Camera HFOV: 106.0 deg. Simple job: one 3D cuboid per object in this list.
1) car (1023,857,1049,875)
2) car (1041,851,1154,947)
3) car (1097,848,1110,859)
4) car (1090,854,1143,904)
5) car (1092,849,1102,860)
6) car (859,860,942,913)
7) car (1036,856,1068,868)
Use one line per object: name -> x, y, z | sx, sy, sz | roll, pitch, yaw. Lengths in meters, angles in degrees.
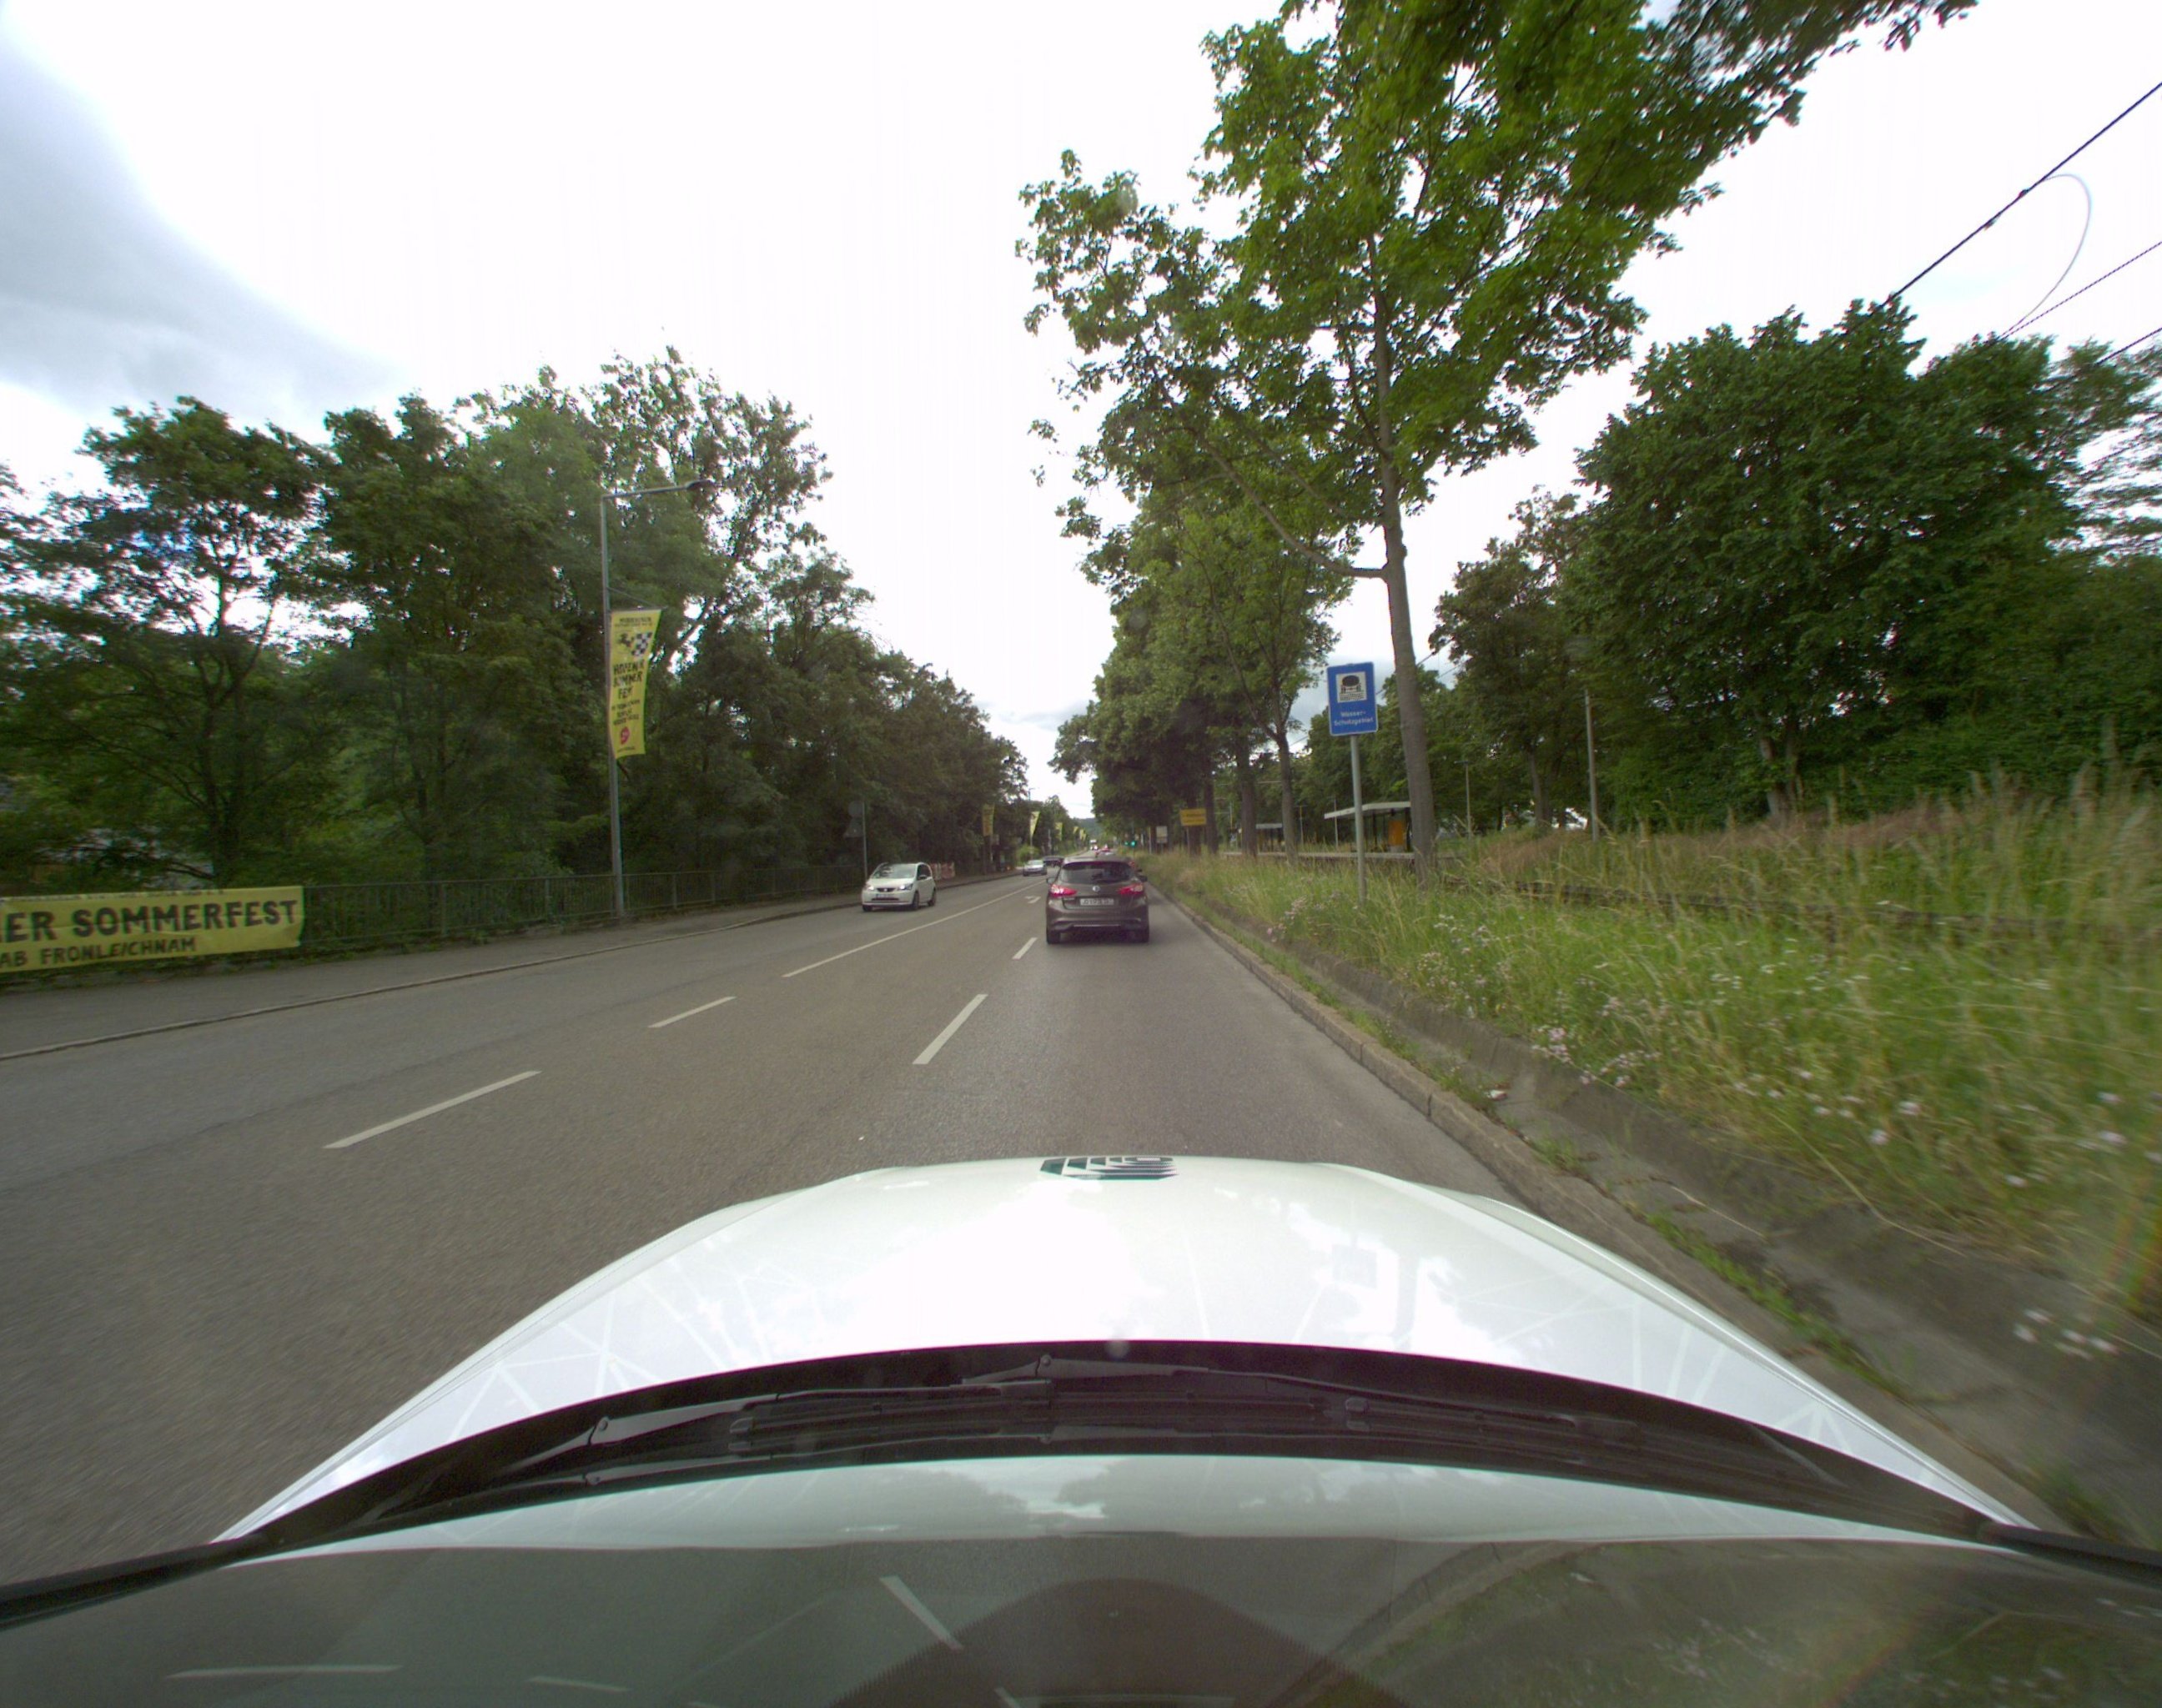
car -> -3.701, 0.960, 67.391 | 1.751, 1.337, 3.698 | -2, 0, 2
car -> 0.341, 0.733, 15.027 | 1.776, 1.507, 3.698 | -2, 0, 2
car -> 3.440, -0.047, 124.052 | 1.986, 1.574, 4.002 | 0, -1, 2
car -> 1.110, 0.744, 25.850 | 1.496, 1.441, 3.543 | -2, 0, 2
car -> 3.196, 0.112, 164.856 | 1.987, 2.014, 3.999 | 0, -1, -1
car -> -5.609, 0.972, 25.714 | 1.574, 1.466, 3.698 | -2, 0, 2
car -> -3.624, 1.002, 102.127 | 3.648, 1.337, 1.775 | -1, 0, 32
